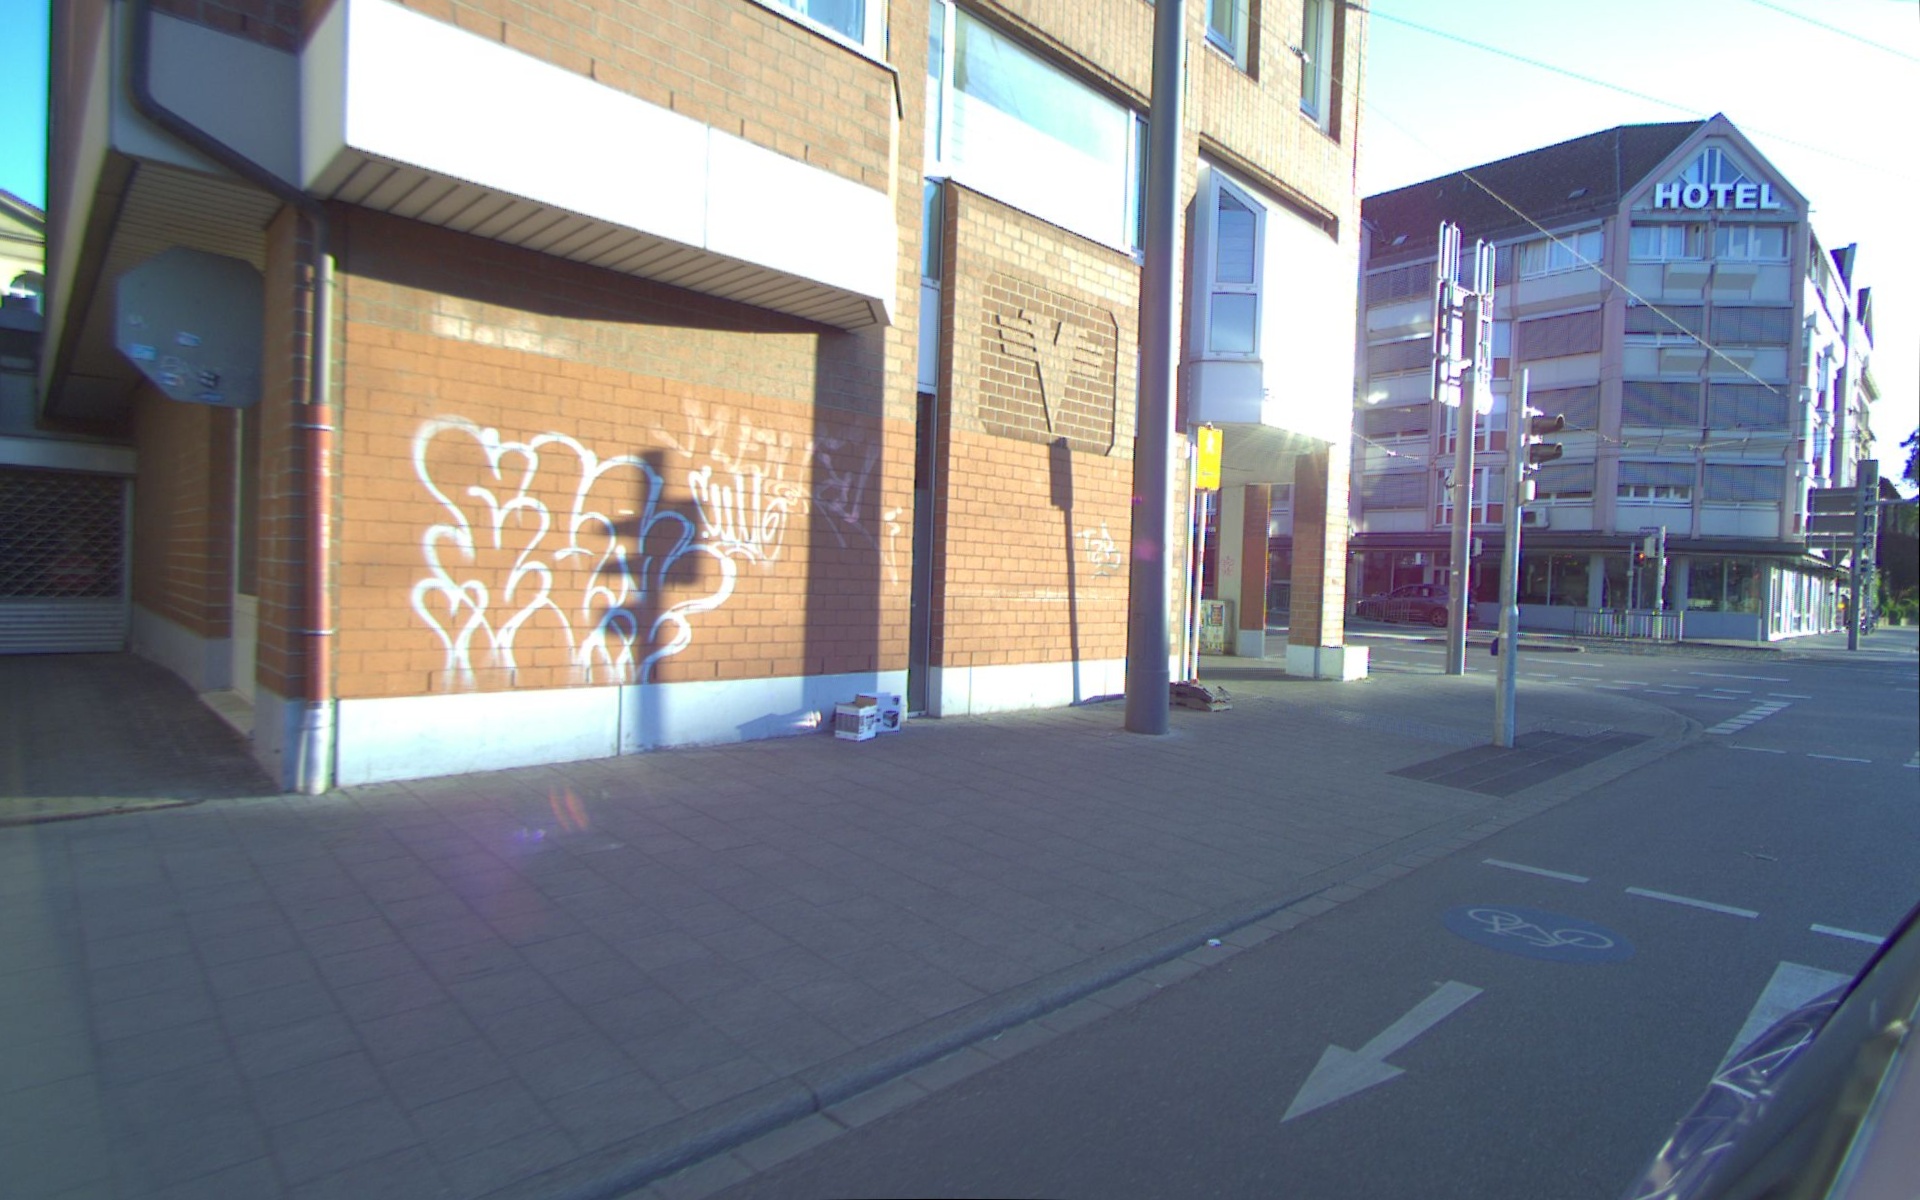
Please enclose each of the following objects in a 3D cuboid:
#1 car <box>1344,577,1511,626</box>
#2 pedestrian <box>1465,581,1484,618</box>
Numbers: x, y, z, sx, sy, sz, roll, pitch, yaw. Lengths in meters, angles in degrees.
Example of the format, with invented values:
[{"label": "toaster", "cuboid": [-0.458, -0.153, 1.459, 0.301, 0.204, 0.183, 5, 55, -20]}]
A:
[{"label": "car", "cuboid": [18.155, 0.018, 39.566, 1.995, 1.648, 5.573, 1, 2, -39]}, {"label": "pedestrian", "cuboid": [21.707, -0.026, 42.701, 0.468, 1.511, 0.473, 2, 1, -6]}]
